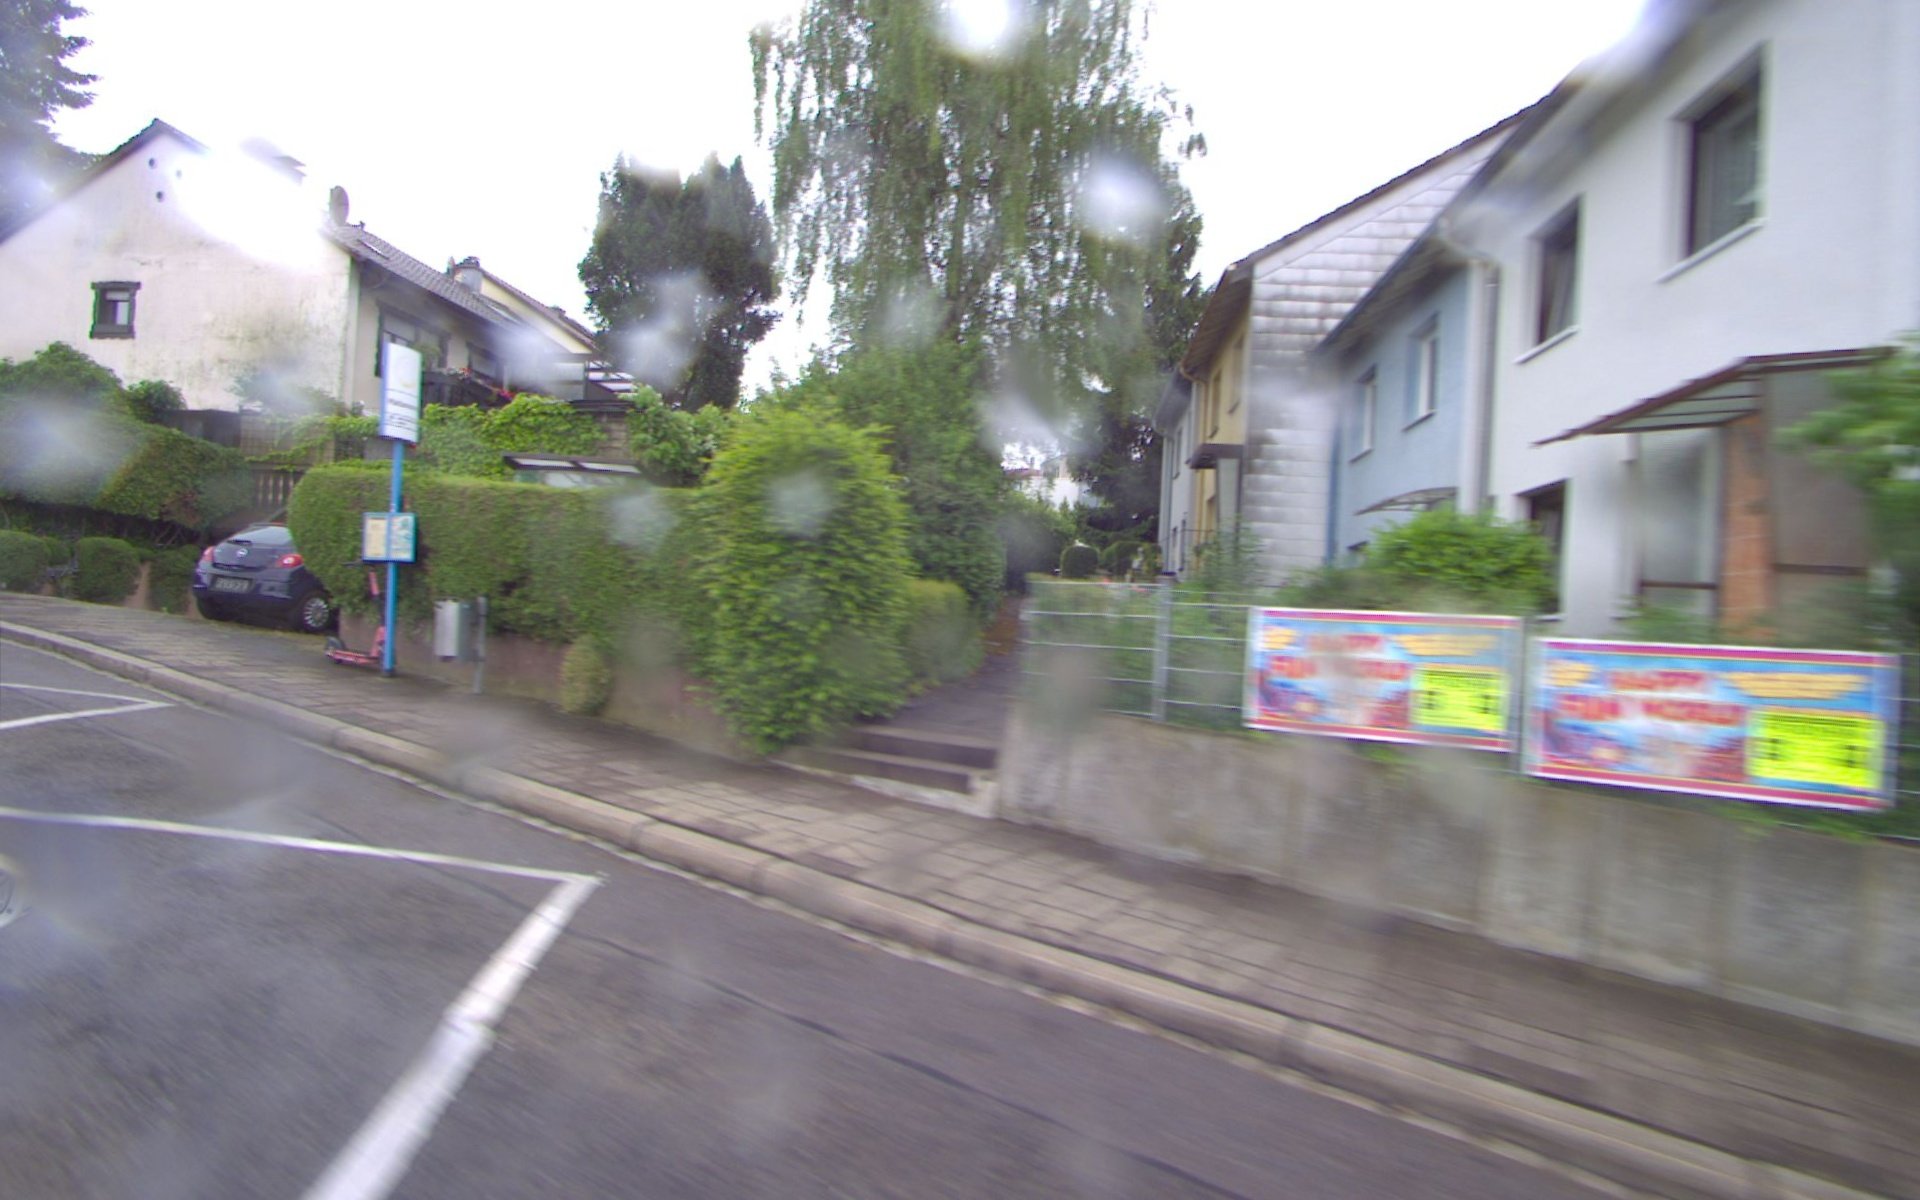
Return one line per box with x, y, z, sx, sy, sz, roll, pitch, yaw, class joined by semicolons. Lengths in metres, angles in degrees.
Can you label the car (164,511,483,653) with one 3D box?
-9.089;-0.153;14.792;1.738;1.309;3.723;5;-8;12;car
